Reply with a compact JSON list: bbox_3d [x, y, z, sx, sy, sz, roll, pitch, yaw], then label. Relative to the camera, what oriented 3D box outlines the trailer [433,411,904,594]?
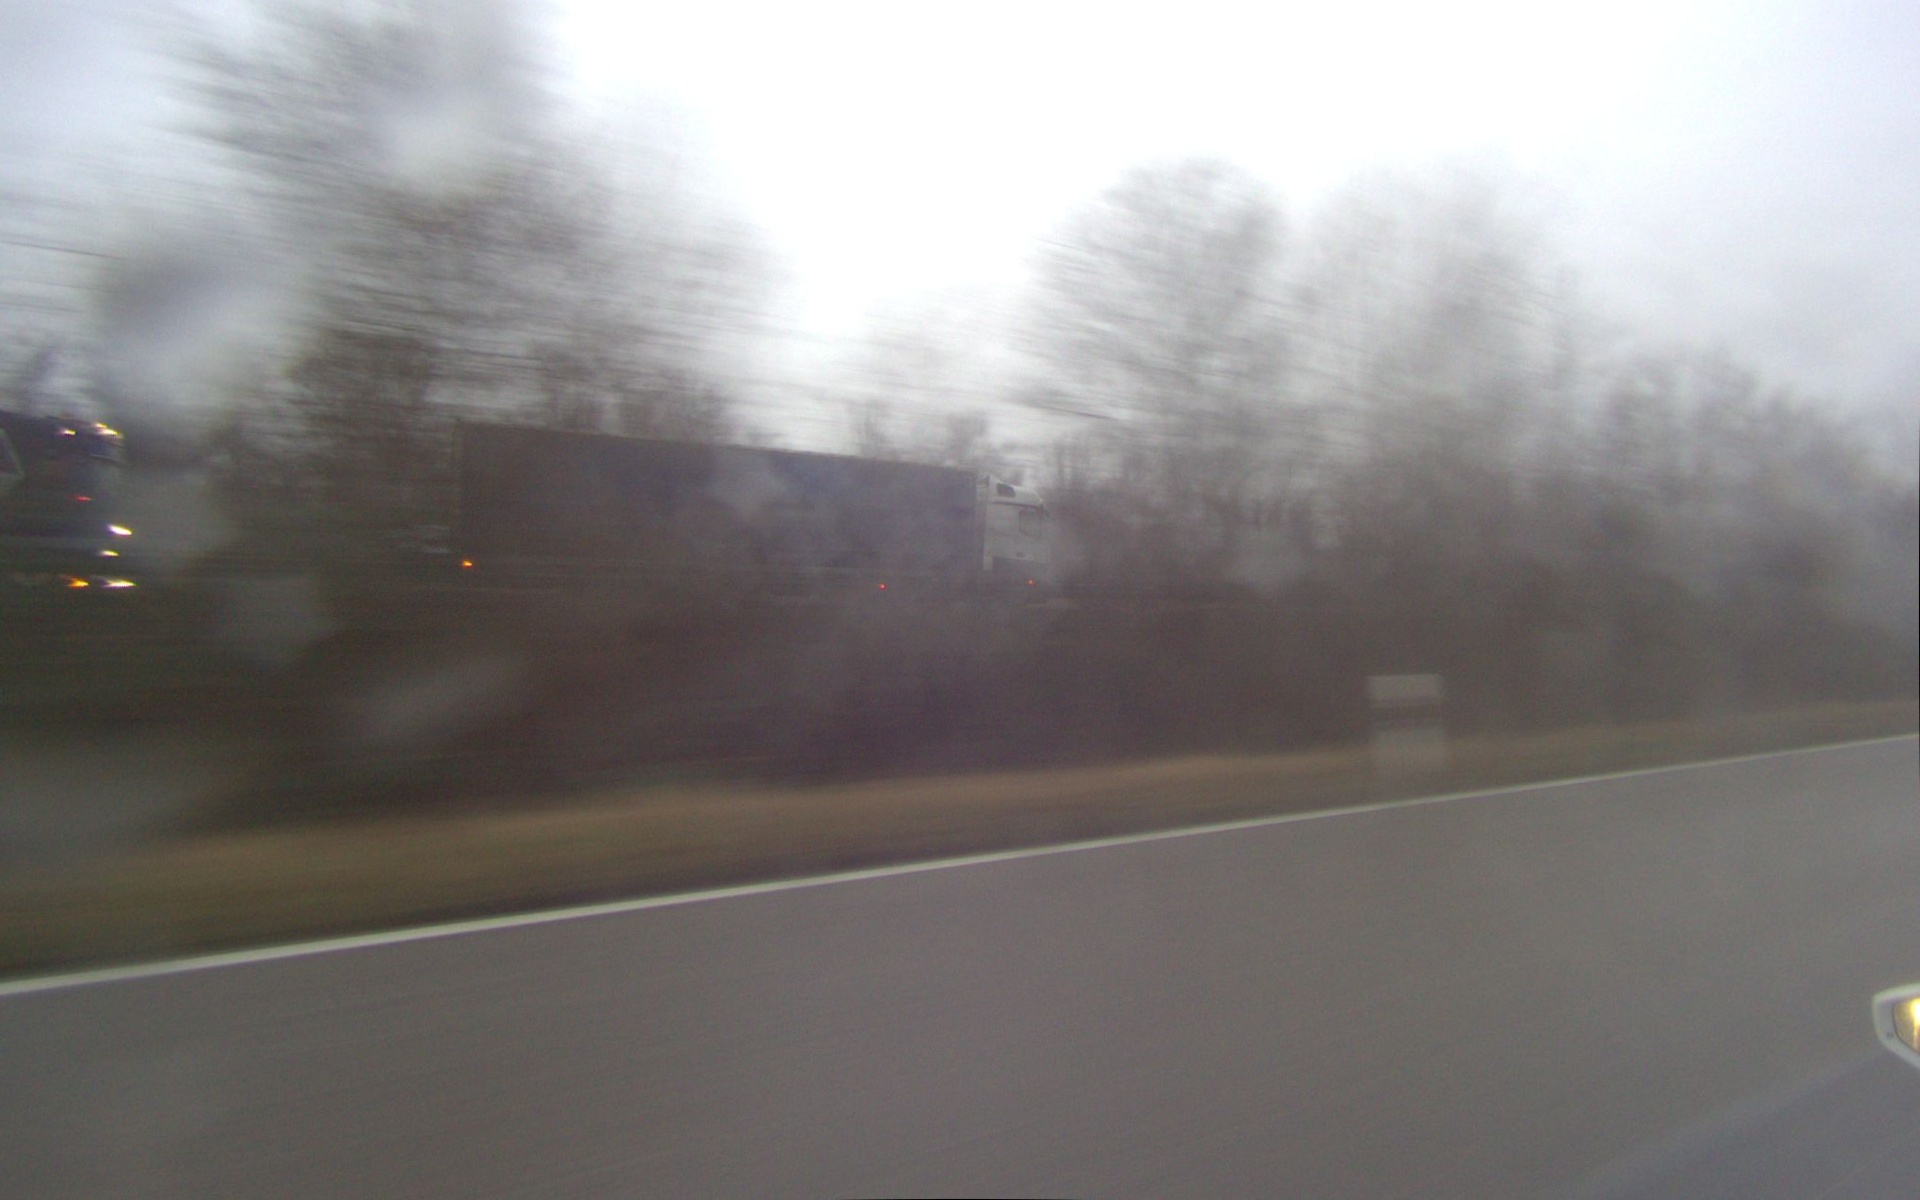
[{"bbox_3d":[-7.112,-2.119,25.838,11.256,3.682,2.983,1,-1,-31],"label":"trailer"}]

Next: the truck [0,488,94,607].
[{"bbox_3d":[-21.657,-1.119,21.730,3.953,2.468,2.518,1,-1,-30],"label":"truck"}]

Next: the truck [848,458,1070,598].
[{"bbox_3d":[0.005,-1.957,30.158,5.997,3.680,2.977,1,-1,-31],"label":"truck"}]
